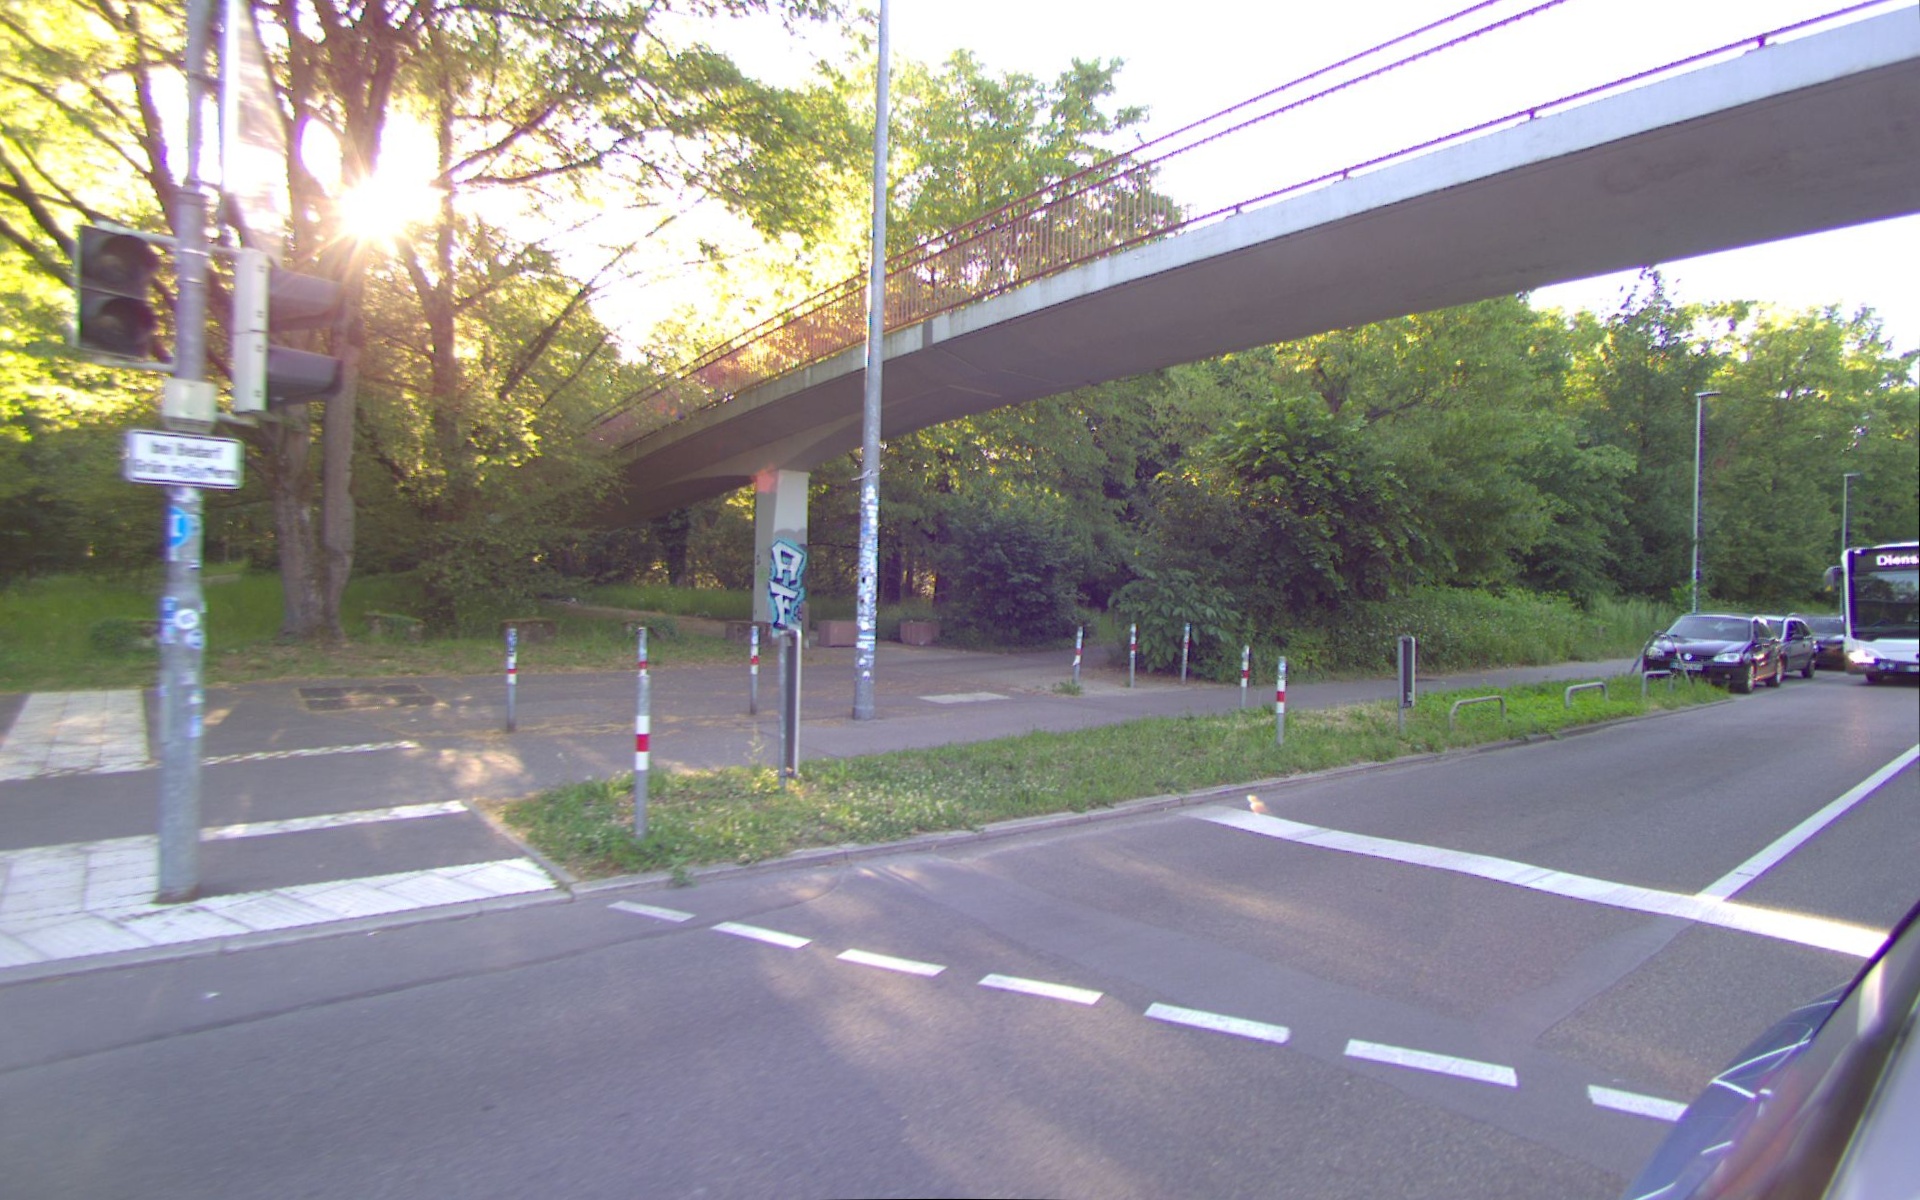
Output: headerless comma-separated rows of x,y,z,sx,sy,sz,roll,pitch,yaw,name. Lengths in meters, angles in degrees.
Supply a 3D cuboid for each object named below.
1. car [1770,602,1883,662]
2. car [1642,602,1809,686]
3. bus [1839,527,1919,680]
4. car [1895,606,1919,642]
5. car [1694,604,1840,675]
24.298,0.819,28.320,4.951,1.472,1.777,0,2,-42,car
15.581,0.807,20.523,4.310,1.472,1.778,0,2,-40,car
24.336,0.095,24.520,12.659,3.087,2.810,0,-1,-41,bus
40.484,0.987,42.074,4.292,1.424,1.873,0,2,-40,car
18.993,0.865,23.769,3.940,1.472,1.779,0,1,-38,car
